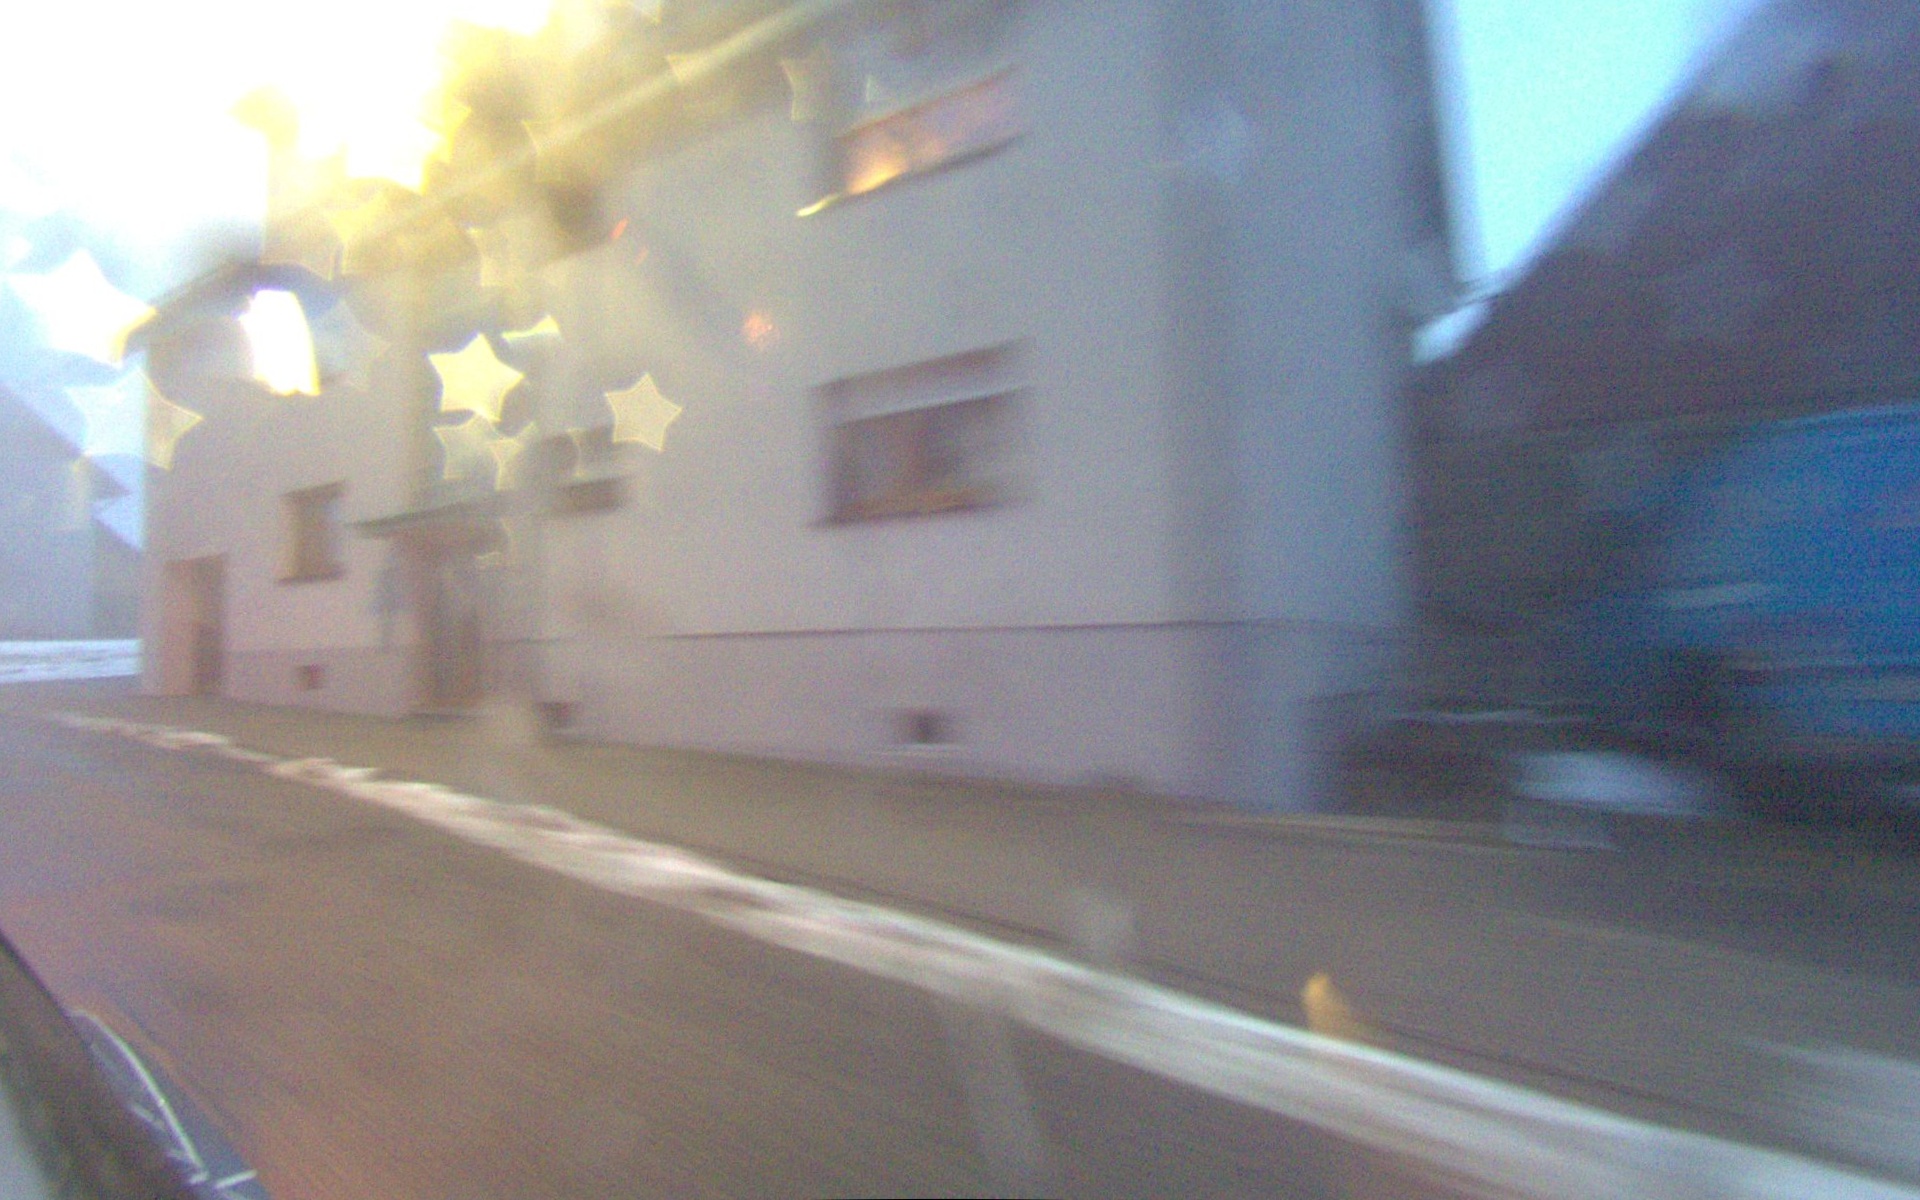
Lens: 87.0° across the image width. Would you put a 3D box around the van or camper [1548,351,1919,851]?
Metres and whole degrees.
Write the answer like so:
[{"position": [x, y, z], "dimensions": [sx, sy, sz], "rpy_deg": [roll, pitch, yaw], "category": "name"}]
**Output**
[{"position": [6.069, 0.071, 7.298], "dimensions": [2.128, 2.467, 5.272], "rpy_deg": [0, -2, 19], "category": "van or camper"}]
